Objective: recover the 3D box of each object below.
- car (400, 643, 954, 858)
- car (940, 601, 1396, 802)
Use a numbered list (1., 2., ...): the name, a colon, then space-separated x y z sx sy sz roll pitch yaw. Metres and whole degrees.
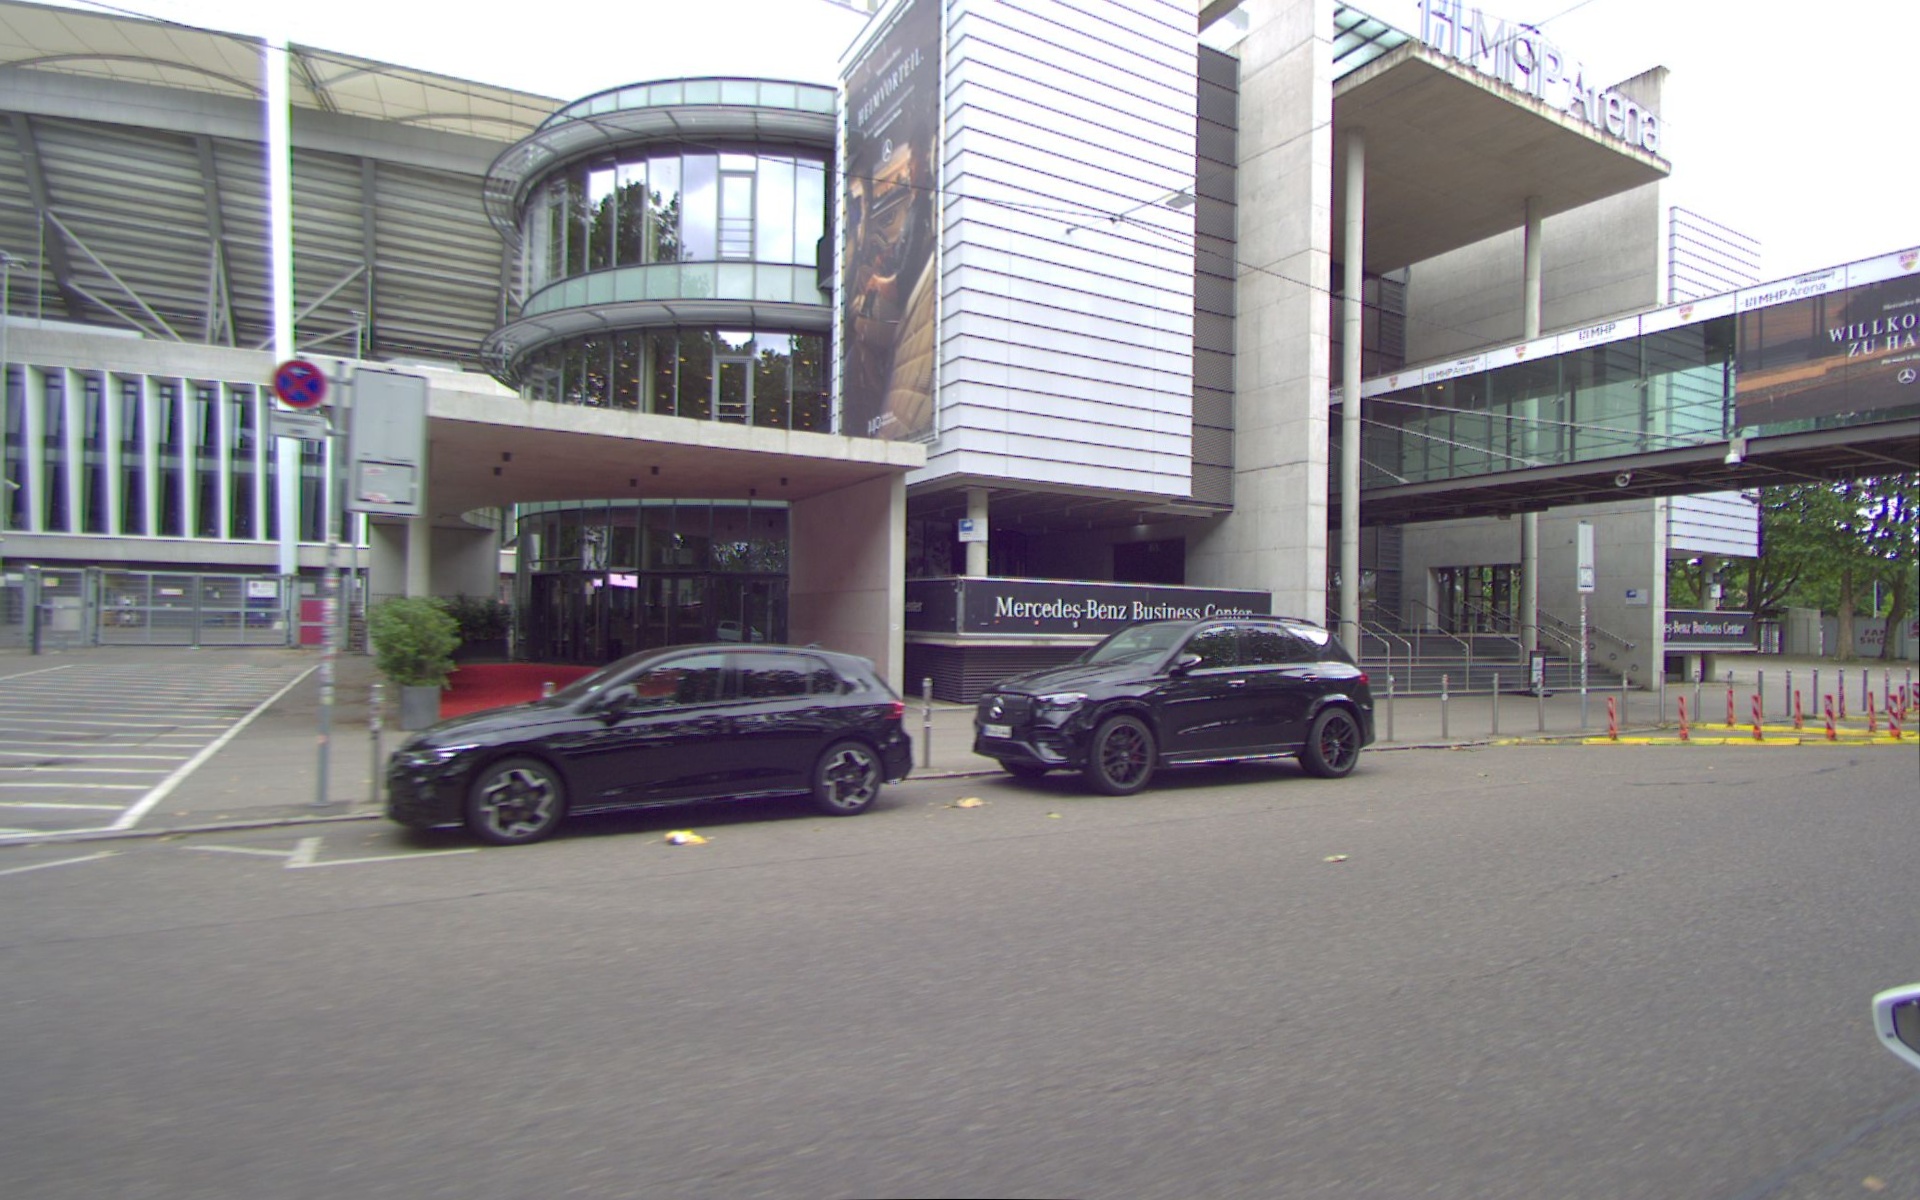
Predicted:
1. car: -2.323 1.107 8.585 4.273 1.438 1.697 1 -4 -30
2. car: 2.378 1.028 11.197 4.849 1.812 2.026 1 -4 -30
